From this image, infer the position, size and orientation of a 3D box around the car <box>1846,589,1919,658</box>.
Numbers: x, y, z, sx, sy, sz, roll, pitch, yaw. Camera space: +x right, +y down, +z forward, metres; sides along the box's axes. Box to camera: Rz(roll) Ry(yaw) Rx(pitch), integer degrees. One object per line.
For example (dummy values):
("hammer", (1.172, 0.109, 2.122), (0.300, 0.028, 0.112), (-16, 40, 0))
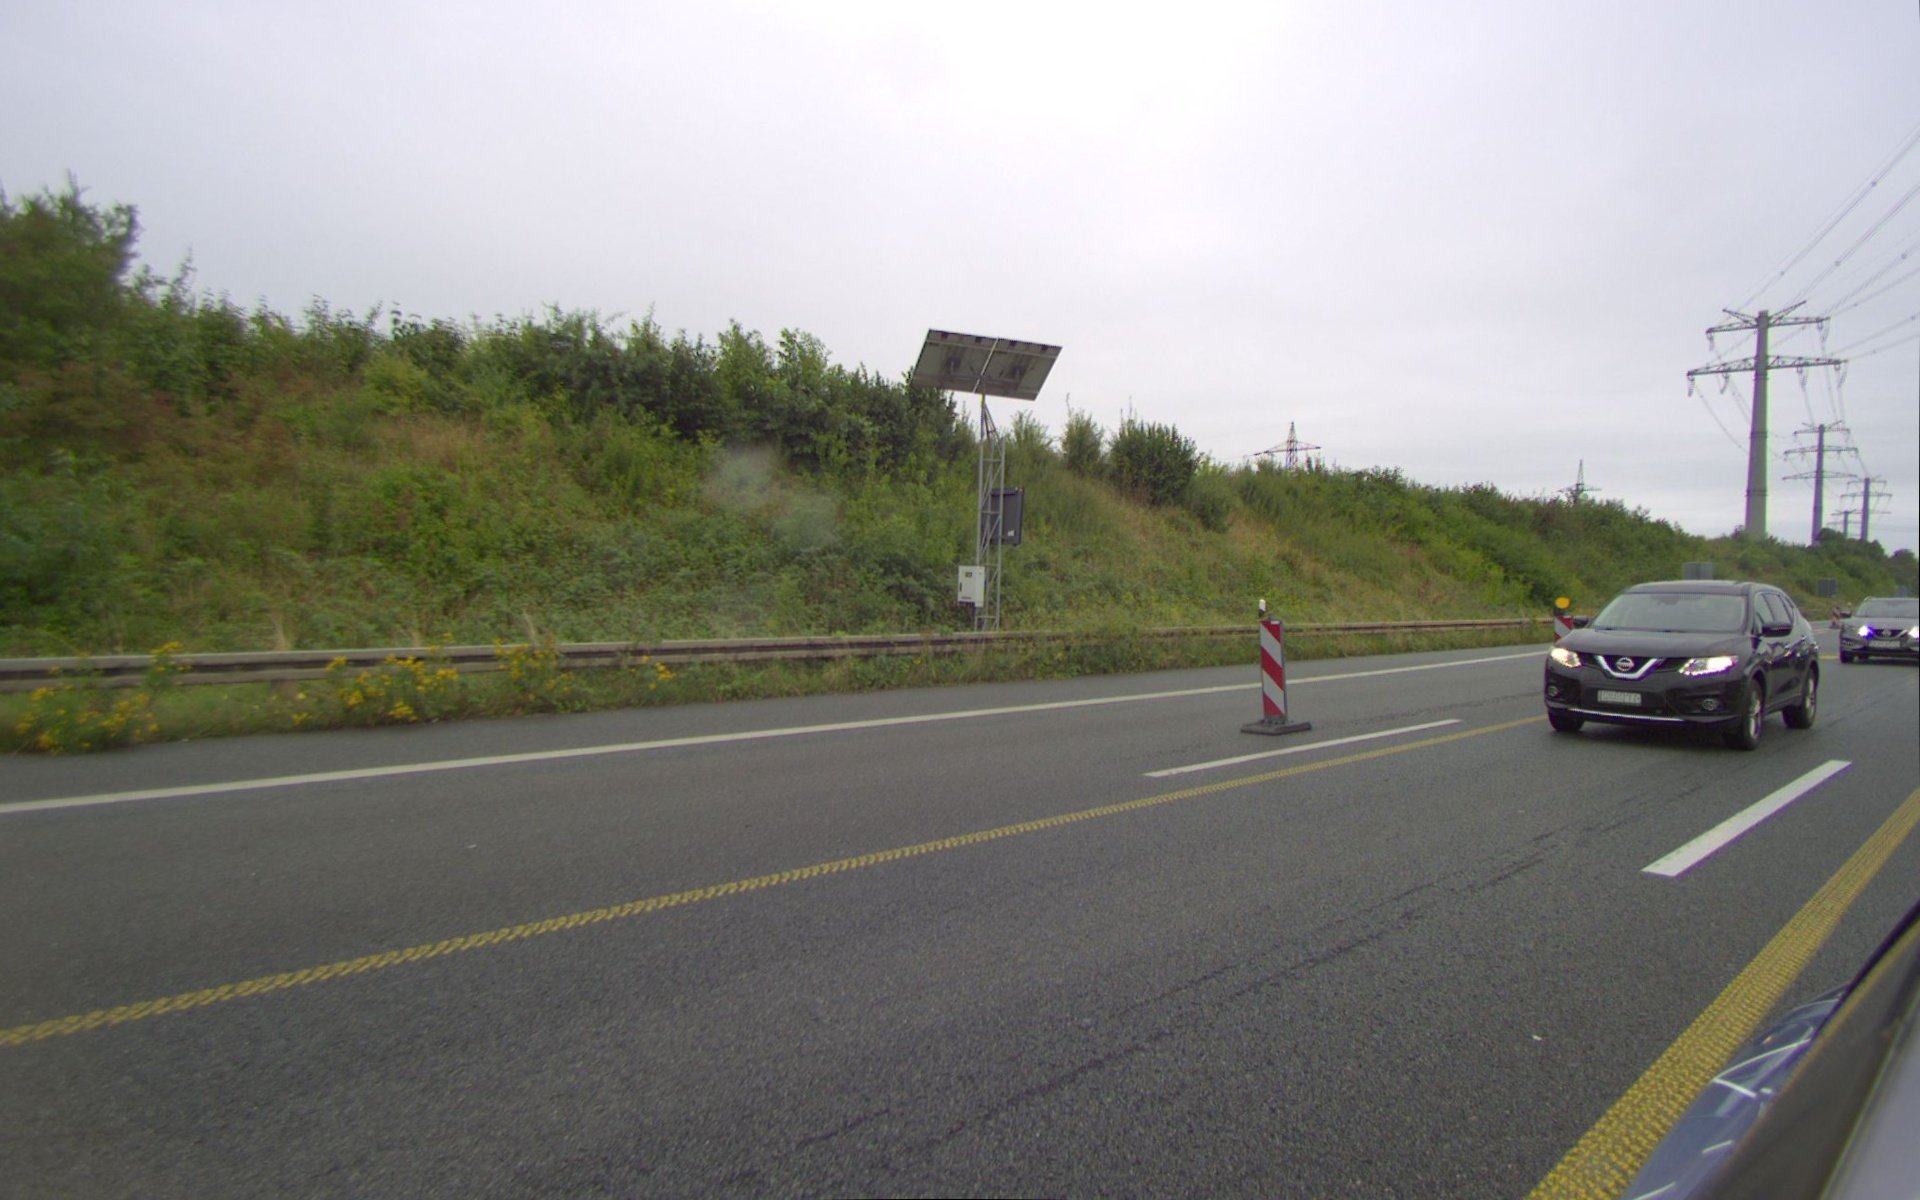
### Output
("car", (22.760, 0.520, 24.302), (4.079, 1.552, 1.802), (0, 1, -42))

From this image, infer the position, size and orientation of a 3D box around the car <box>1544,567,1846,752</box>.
("car", (8.241, 0.528, 11.207), (4.203, 1.679, 1.688), (0, 1, -39))
